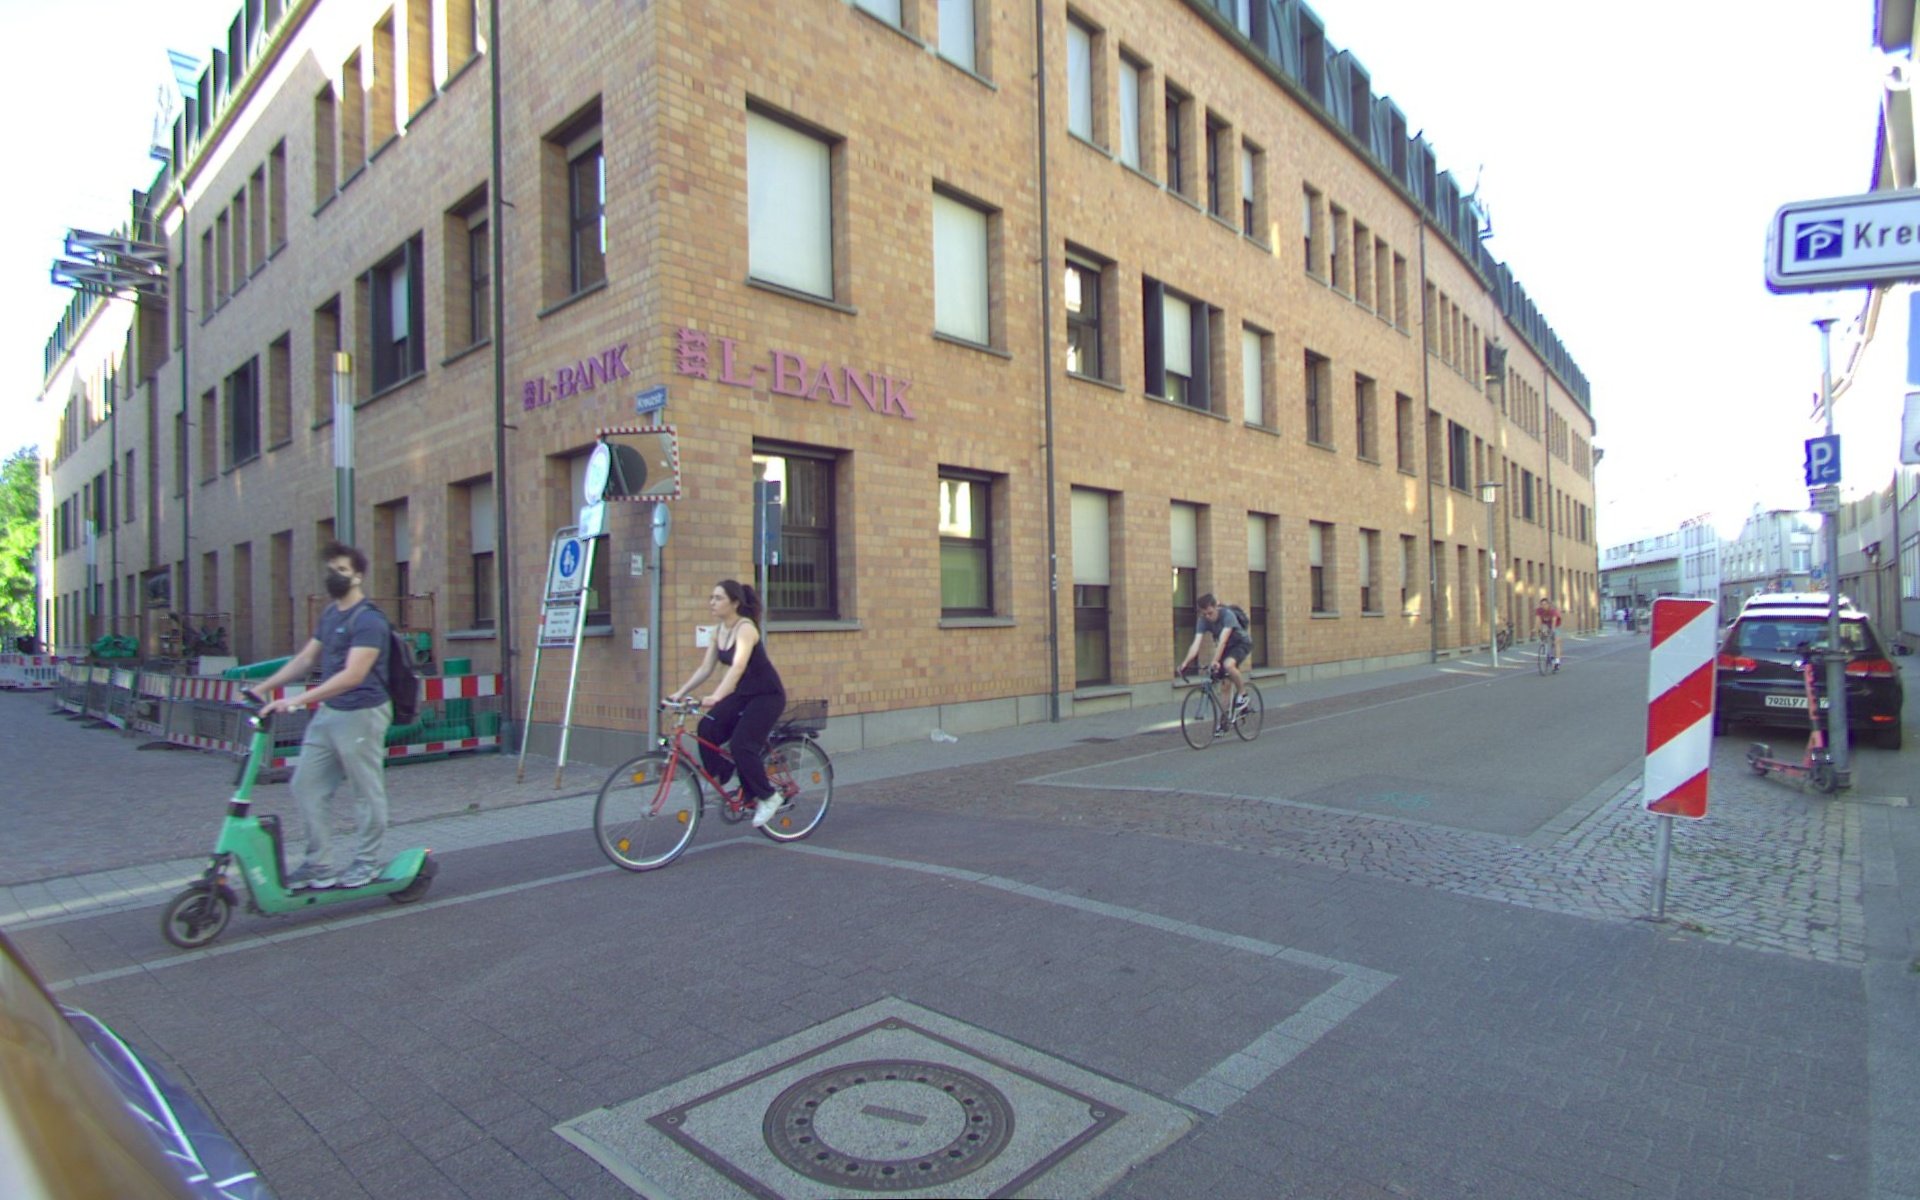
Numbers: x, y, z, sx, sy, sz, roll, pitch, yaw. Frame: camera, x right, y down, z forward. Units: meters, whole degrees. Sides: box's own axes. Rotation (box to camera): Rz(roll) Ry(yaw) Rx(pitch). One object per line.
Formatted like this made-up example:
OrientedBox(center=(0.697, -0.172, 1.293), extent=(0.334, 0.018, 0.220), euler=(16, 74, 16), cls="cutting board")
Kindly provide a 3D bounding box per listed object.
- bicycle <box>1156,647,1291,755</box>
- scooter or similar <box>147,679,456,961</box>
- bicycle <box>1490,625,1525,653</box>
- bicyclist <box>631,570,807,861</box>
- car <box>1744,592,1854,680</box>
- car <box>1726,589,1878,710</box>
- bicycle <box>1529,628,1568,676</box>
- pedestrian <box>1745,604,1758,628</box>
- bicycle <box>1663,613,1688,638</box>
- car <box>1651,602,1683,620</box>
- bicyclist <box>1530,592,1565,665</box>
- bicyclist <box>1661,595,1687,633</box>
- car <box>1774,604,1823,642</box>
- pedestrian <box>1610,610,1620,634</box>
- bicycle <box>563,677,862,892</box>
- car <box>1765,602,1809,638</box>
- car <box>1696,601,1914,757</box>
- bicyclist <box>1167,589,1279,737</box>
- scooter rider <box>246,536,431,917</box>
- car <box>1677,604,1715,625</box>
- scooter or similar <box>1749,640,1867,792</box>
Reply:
OrientedBox(center=(2.974, 1.102, 11.328), extent=(0.574, 1.059, 1.810), euler=(-8, -5, 43), cls="bicycle")
OrientedBox(center=(-3.260, 1.026, 5.075), extent=(1.259, 1.195, 0.337), euler=(1, -5, -40), cls="scooter or similar")
OrientedBox(center=(19.012, 1.326, 35.120), extent=(0.642, 0.888, 2.524), euler=(-1, -1, 38), cls="bicycle")
OrientedBox(center=(-1.515, 0.689, 6.371), extent=(0.620, 1.679, 0.812), euler=(-6, -4, 42), cls="bicyclist")
OrientedBox(center=(17.967, 0.707, 21.647), extent=(1.673, 1.717, 3.958), euler=(0, 0, 41), cls="car")
OrientedBox(center=(13.364, 0.696, 16.061), extent=(1.673, 1.674, 4.025), euler=(0, 0, 41), cls="car")
OrientedBox(center=(12.647, 1.096, 21.724), extent=(0.436, 0.964, 1.570), euler=(-2, -2, 40), cls="bicycle")
OrientedBox(center=(50.090, 1.005, 64.073), extent=(0.570, 1.490, 0.468), euler=(-2, -2, 34), cls="pedestrian")
OrientedBox(center=(33.076, 1.178, 46.790), extent=(0.705, 1.112, 1.803), euler=(-7, -5, 40), cls="bicycle")
OrientedBox(center=(67.956, 1.076, 97.330), extent=(1.926, 1.663, 3.801), euler=(-1, -1, 27), cls="car")
OrientedBox(center=(12.611, 0.612, 21.723), extent=(0.428, 1.509, 0.864), euler=(-5, -4, 40), cls="bicyclist")
OrientedBox(center=(33.040, 0.659, 46.821), extent=(0.772, 1.668, 0.944), euler=(-6, -4, 40), cls="bicyclist")
OrientedBox(center=(39.041, 1.055, 47.179), extent=(1.692, 1.692, 3.461), euler=(0, 0, 39), cls="car")
OrientedBox(center=(43.329, 1.468, 66.946), extent=(0.543, 1.556, 0.399), euler=(-1, -1, 40), cls="pedestrian")
OrientedBox(center=(-1.486, 1.069, 6.344), extent=(0.591, 1.060, 1.776), euler=(-5, -4, 41), cls="bicycle")
OrientedBox(center=(42.234, 0.997, 51.736), extent=(1.692, 1.789, 3.608), euler=(0, 0, 39), cls="car")
OrientedBox(center=(9.960, 0.783, 11.953), extent=(1.740, 1.497, 3.759), euler=(0, 0, 41), cls="car")
OrientedBox(center=(2.954, 0.696, 11.343), extent=(0.650, 1.570, 1.093), euler=(-7, -5, 45), cls="bicyclist")
OrientedBox(center=(-3.135, 0.591, 5.108), extent=(0.691, 1.739, 0.650), euler=(1, -3, -40), cls="scooter rider")
OrientedBox(center=(60.583, 1.168, 83.330), extent=(1.926, 1.663, 3.801), euler=(-2, -1, 27), cls="car")
OrientedBox(center=(7.073, 0.938, 8.477), extent=(0.205, 1.193, 0.882), euler=(-1, -2, 1), cls="scooter or similar")
